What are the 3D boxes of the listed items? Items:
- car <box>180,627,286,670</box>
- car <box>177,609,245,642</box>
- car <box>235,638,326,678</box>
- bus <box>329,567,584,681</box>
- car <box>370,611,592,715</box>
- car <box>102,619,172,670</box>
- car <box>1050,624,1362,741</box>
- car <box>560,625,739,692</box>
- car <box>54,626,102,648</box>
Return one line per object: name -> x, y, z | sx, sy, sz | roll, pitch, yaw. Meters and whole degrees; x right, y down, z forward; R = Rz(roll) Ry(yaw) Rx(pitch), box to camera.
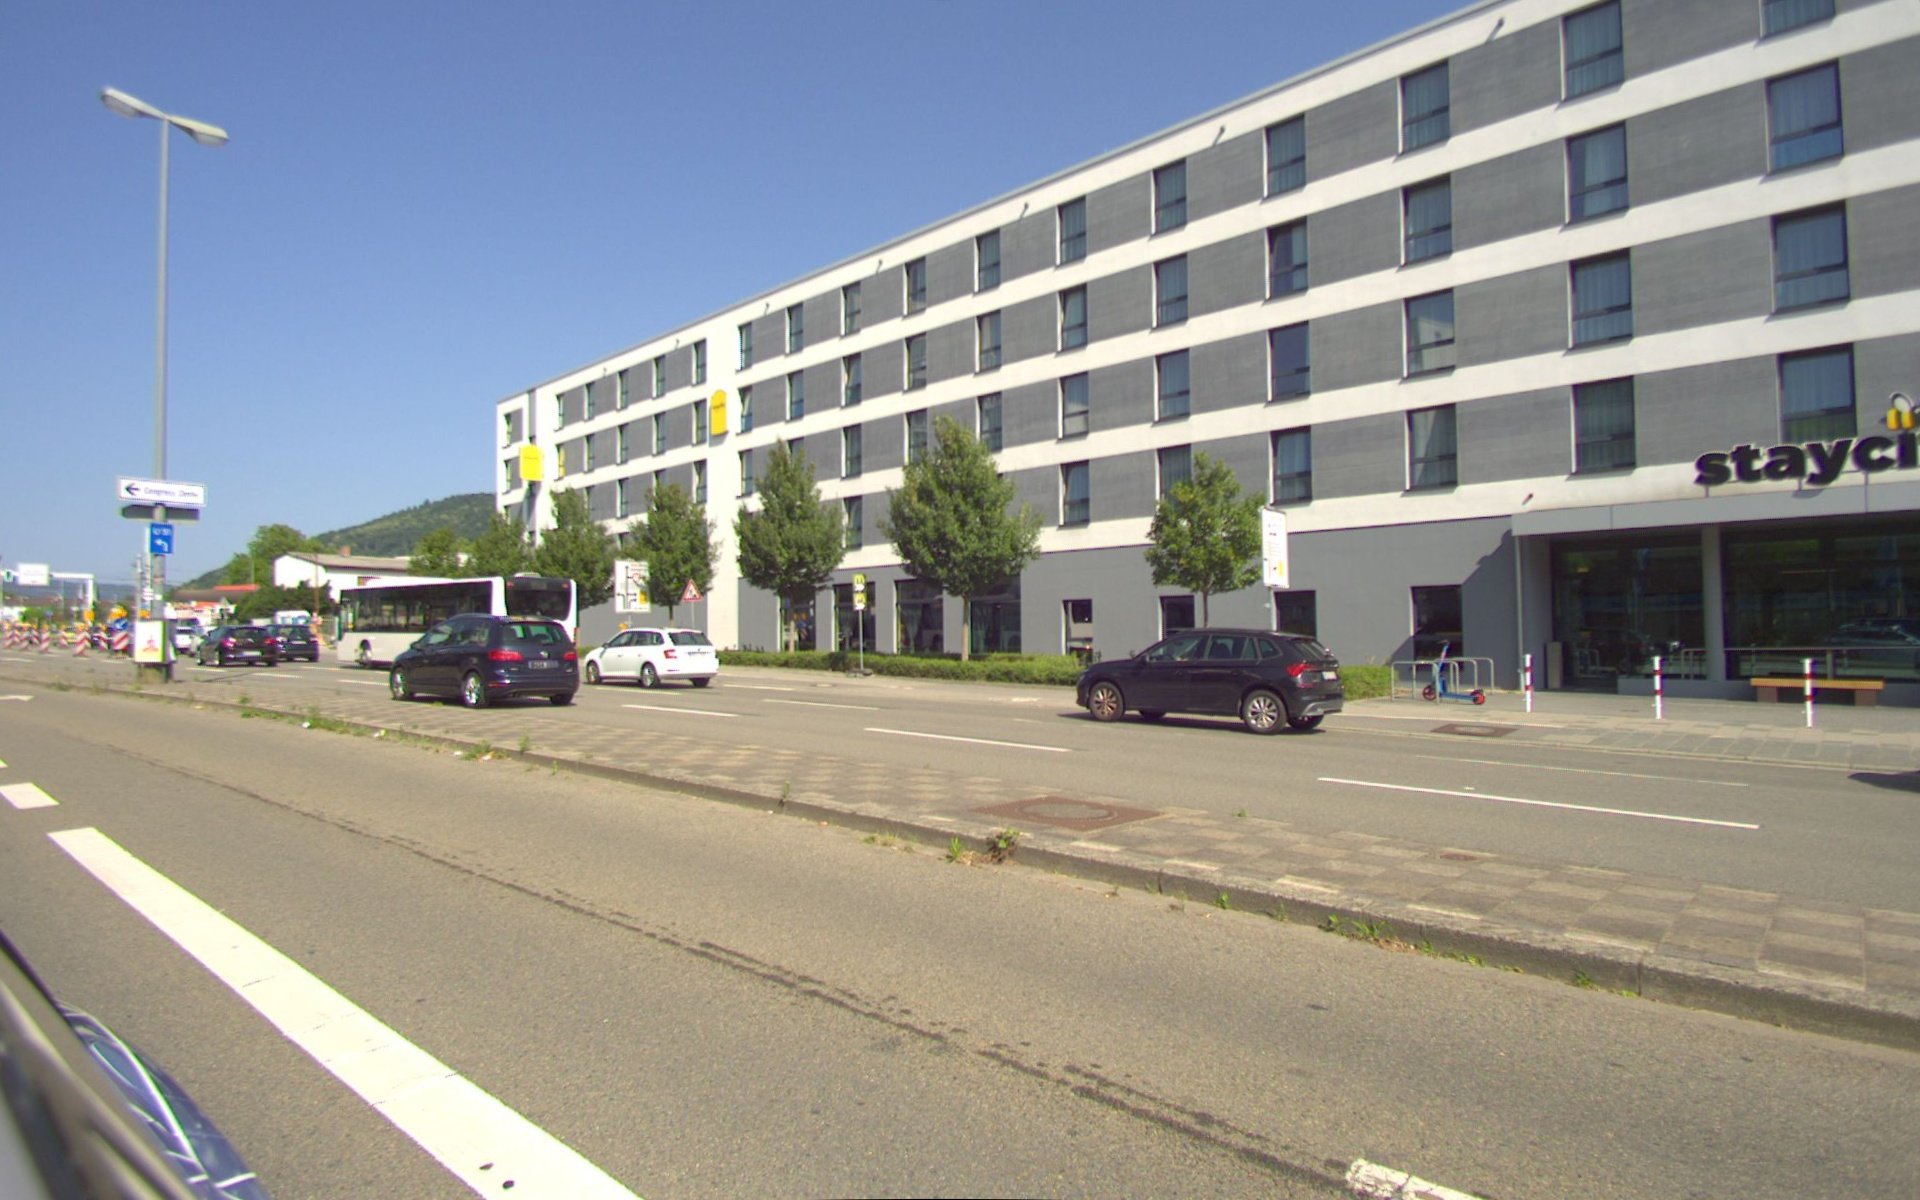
car -> -26.164, 1.705, 36.373 | 4.887, 1.443, 1.973 | -1, -2, 40
car -> -34.487, 1.141, 46.578 | 3.999, 1.462, 1.740 | 0, 0, 42
car -> -28.570, 2.396, 42.507 | 4.888, 1.534, 1.973 | -1, -2, 41
bus -> -16.519, 0.820, 32.502 | 11.966, 3.102, 2.710 | -1, -4, 40
car -> -8.538, 1.037, 17.914 | 4.128, 1.630, 1.868 | -1, -2, 37
car -> -35.555, 1.890, 43.713 | 4.162, 2.029, 1.658 | 0, 0, 41
car -> 3.800, 1.209, 16.060 | 4.411, 1.590, 1.972 | -1, -4, 42
car -> -7.808, 1.441, 25.351 | 4.403, 1.497, 1.976 | 0, -4, 36
car -> -63.854, 2.644, 73.247 | 4.888, 1.534, 1.973 | -1, -2, 41
